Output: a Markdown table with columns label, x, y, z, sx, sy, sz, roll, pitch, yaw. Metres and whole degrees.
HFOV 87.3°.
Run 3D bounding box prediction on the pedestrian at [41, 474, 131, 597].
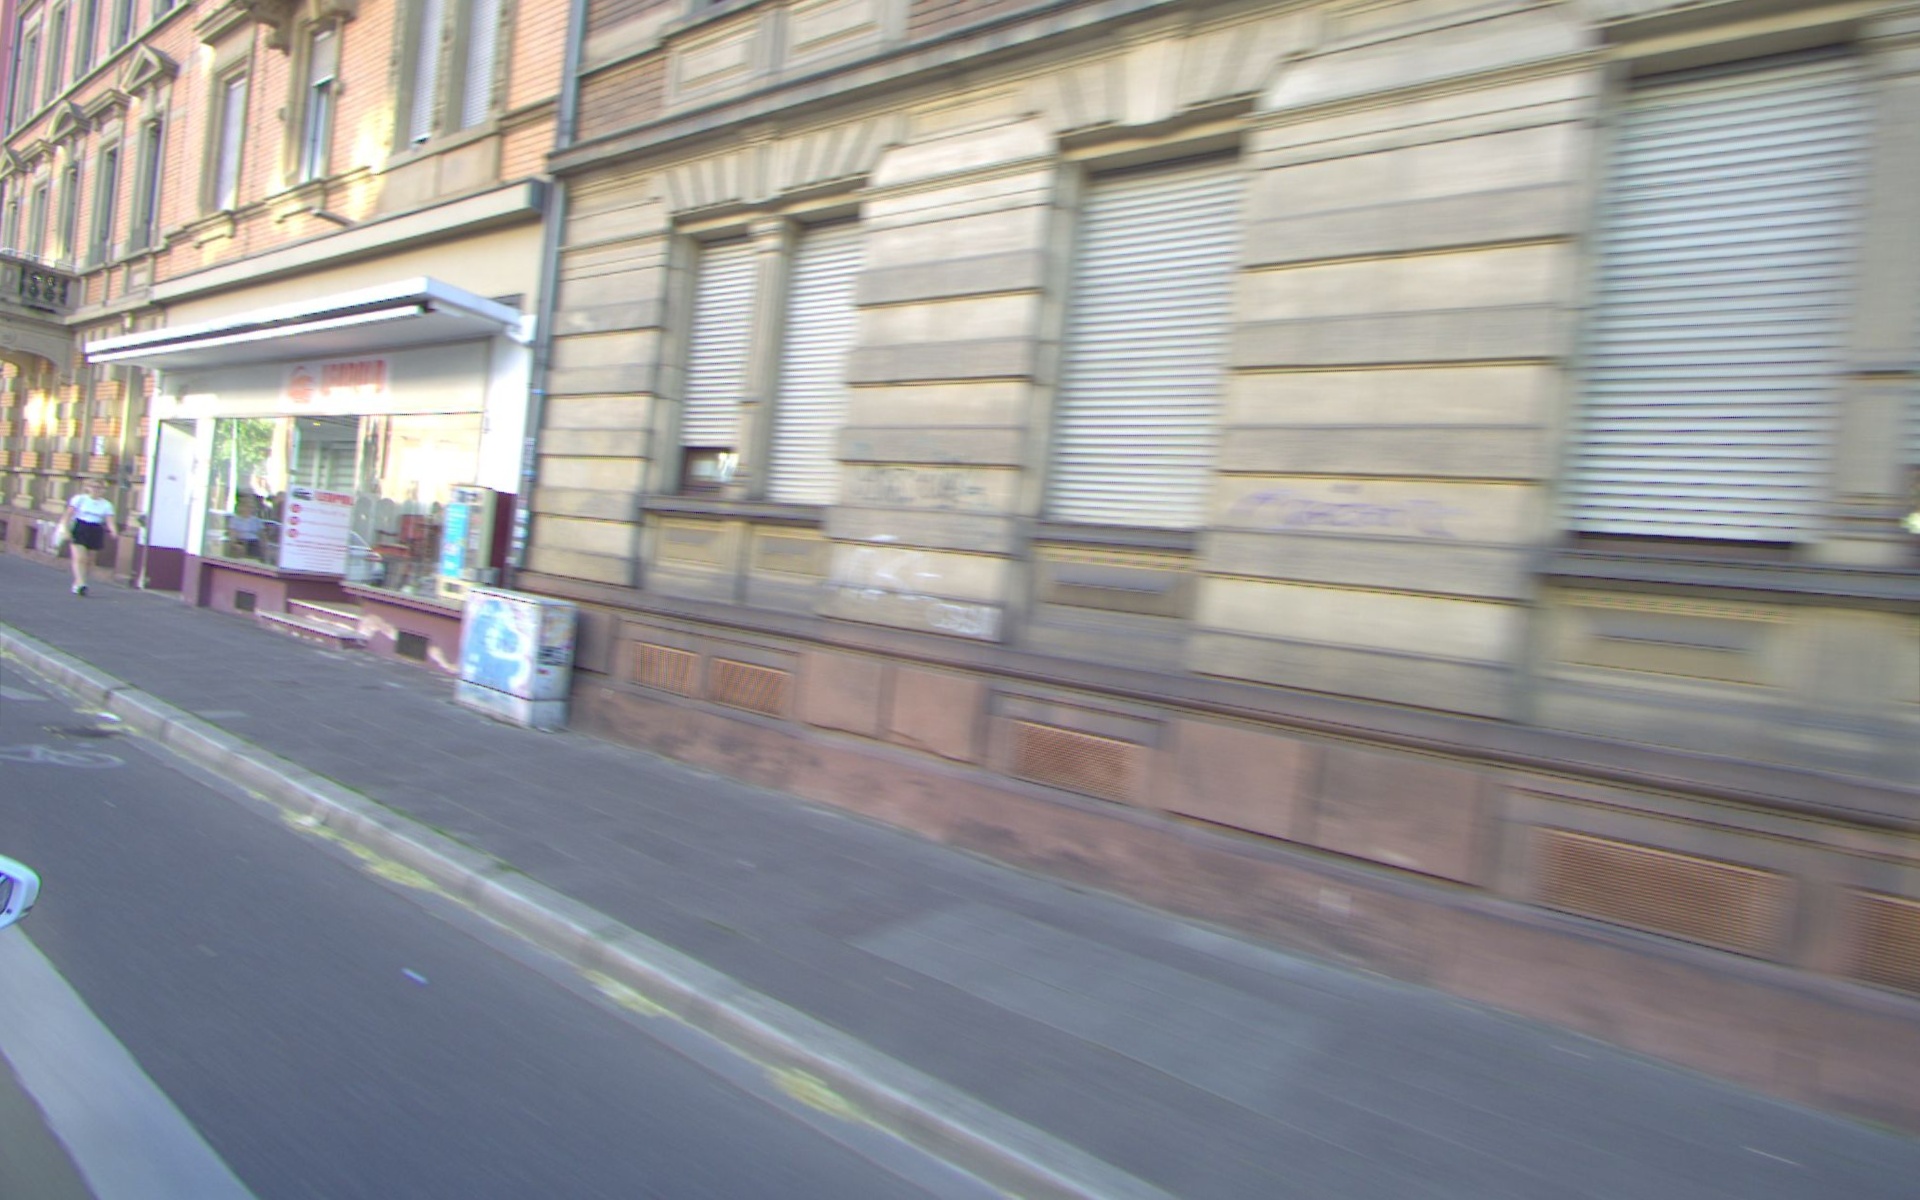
| label | x | y | z | sx | sy | sz | roll | pitch | yaw |
| --- | --- | --- | --- | --- | --- | --- | --- | --- | --- |
| pedestrian | -12.045 | -0.885 | 13.857 | 0.900 | 1.589 | 0.774 | 8 | 4 | 39 |
